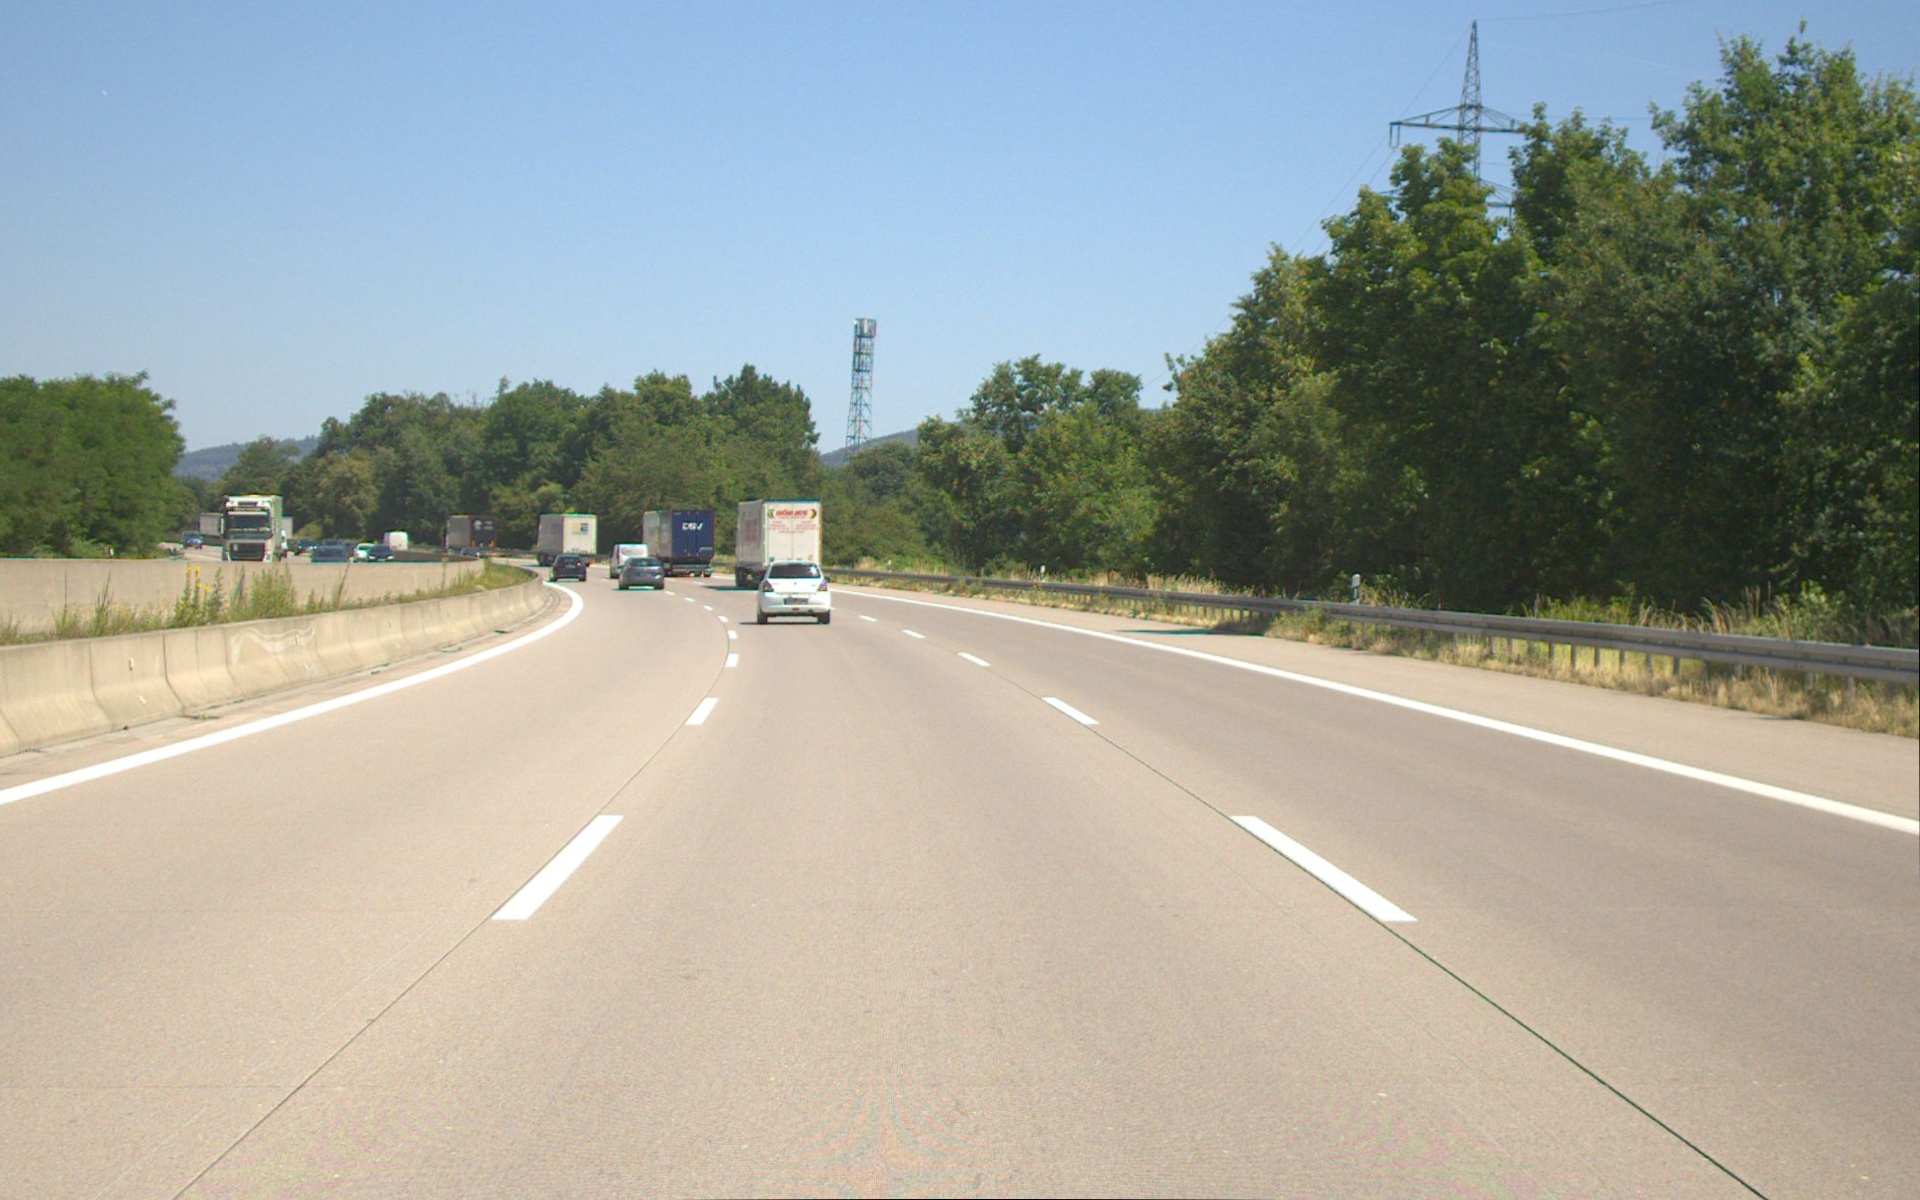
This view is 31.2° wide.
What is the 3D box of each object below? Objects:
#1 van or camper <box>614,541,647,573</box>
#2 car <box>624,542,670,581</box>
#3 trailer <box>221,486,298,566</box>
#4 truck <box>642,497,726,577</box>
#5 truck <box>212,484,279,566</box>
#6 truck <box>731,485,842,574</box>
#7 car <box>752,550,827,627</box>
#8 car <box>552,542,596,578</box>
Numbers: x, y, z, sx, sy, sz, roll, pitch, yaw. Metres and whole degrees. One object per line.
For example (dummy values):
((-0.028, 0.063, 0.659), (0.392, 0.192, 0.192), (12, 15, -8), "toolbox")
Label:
((-18.988, -2.485, 198.054), (1.867, 1.831, 4.001), (0, 1, -5), "van or camper")
((-13.929, -1.729, 153.044), (1.609, 1.719, 3.574), (0, 1, -12), "car")
((-35.685, -3.712, 175.394), (2.681, 3.922, 13.249), (0, 1, -6), "trailer")
((-16.986, -3.830, 210.678), (3.906, 4.725, 14.054), (0, 1, -9), "truck")
((-34.886, -3.631, 167.999), (2.664, 3.922, 5.970), (0, 1, -6), "truck")
((-8.044, -3.176, 156.971), (3.819, 3.876, 14.156), (0, 1, -8), "truck")
((-4.089, -0.291, 82.526), (1.641, 1.656, 3.361), (5, 1, -3), "car")
((-20.828, -2.172, 185.372), (2.021, 1.695, 4.001), (5, 1, -10), "car")
